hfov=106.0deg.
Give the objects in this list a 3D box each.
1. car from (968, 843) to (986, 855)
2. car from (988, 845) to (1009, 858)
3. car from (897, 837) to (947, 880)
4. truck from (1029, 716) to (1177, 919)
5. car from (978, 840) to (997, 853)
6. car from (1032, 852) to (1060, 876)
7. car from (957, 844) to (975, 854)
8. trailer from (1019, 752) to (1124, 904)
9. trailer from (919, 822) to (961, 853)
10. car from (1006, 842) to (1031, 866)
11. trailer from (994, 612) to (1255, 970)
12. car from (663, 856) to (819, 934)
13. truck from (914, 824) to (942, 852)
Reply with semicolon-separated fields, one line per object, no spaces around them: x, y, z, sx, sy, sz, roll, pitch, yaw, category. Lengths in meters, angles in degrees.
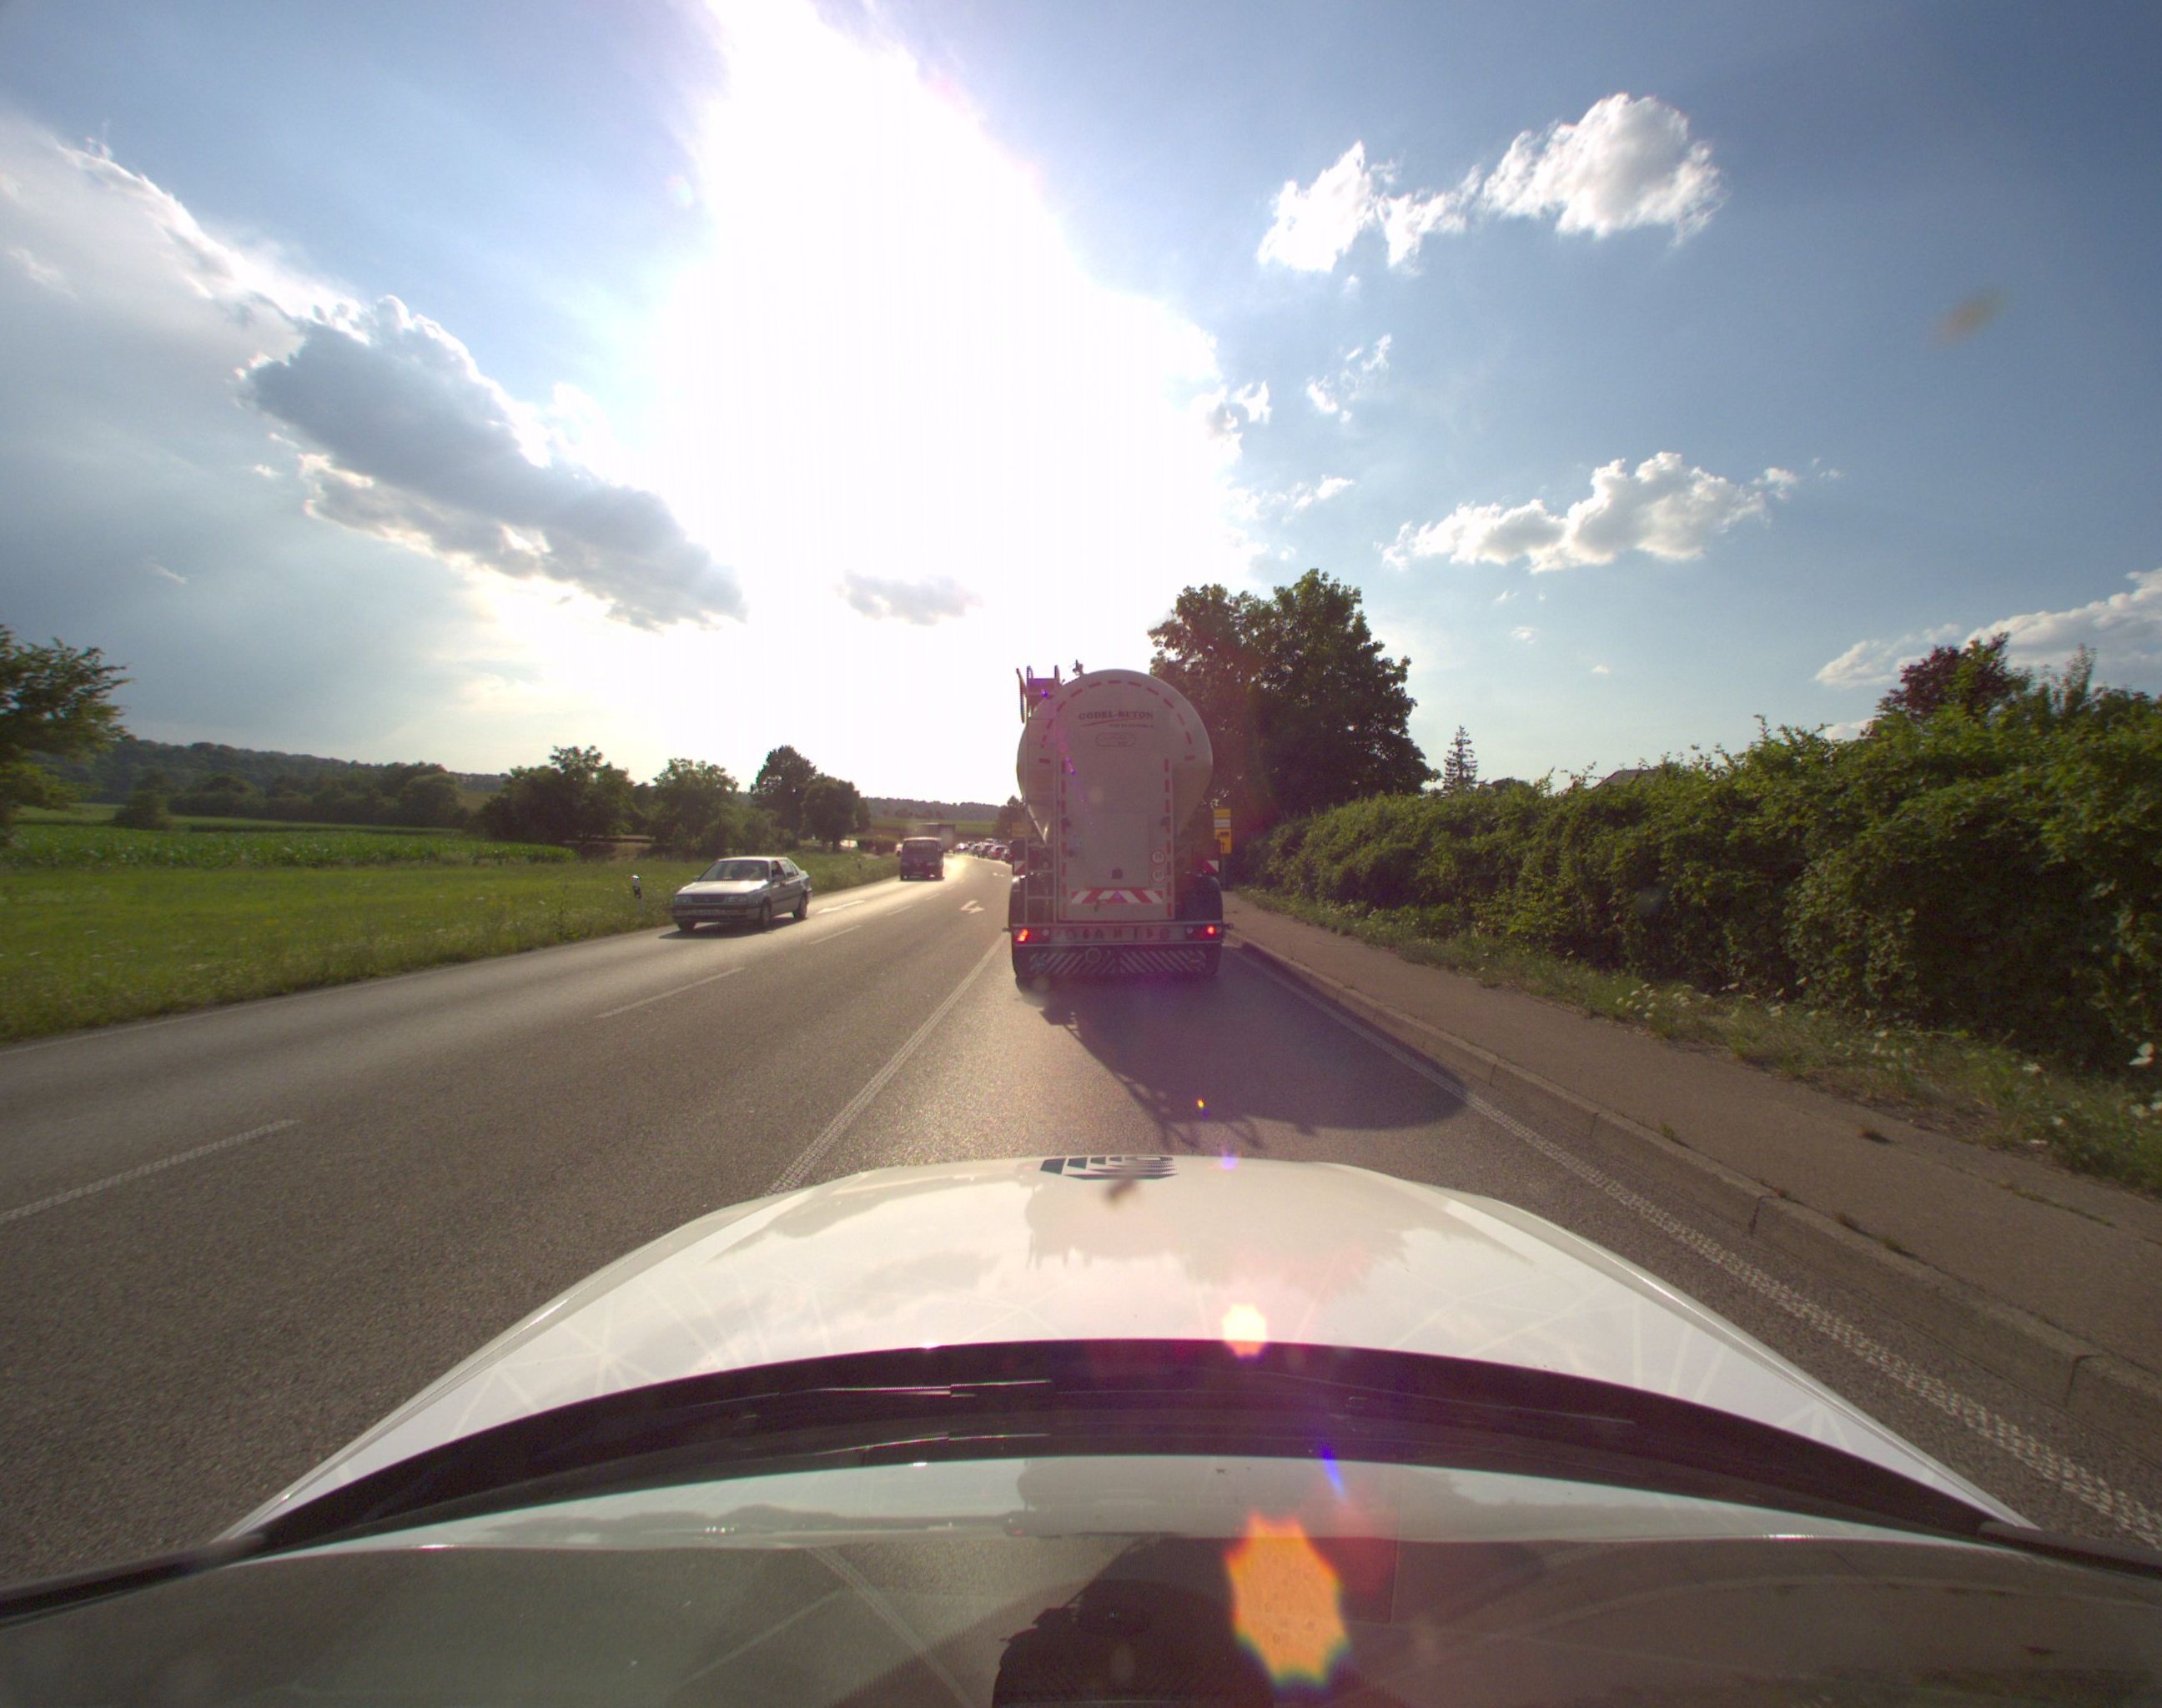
-12.764;-0.632;99.763;1.584;1.340;3.407;1;0;-16;car
-8.719;-0.284;85.484;1.584;1.340;3.407;1;0;-16;car
-8.233;0.202;42.611;1.994;2.136;4.772;0;0;-4;car
0.417;-0.740;18.188;2.901;4.006;4.058;-1;0;-1;truck
-10.522;-0.829;91.636;1.584;1.340;3.407;1;0;-16;car
-2.085;0.572;48.599;1.576;1.340;3.422;1;0;-2;car
-14.981;-0.659;106.129;1.773;1.205;3.406;1;0;-16;car
-0.112;-0.796;30.382;2.944;4.315;14.179;1;0;1;trailer
-21.641;-2.440;123.766;3.389;4.350;14.189;1;0;-22;trailer
-5.511;-0.047;71.217;1.861;2.013;3.707;-1;0;-10;car
0.453;-0.736;14.123;2.901;4.006;9.927;-1;0;-1;trailer
-7.026;0.763;17.308;1.702;1.428;4.174;0;0;-2;car
-24.749;-2.533;131.408;3.389;4.350;5.664;1;0;-22;truck
